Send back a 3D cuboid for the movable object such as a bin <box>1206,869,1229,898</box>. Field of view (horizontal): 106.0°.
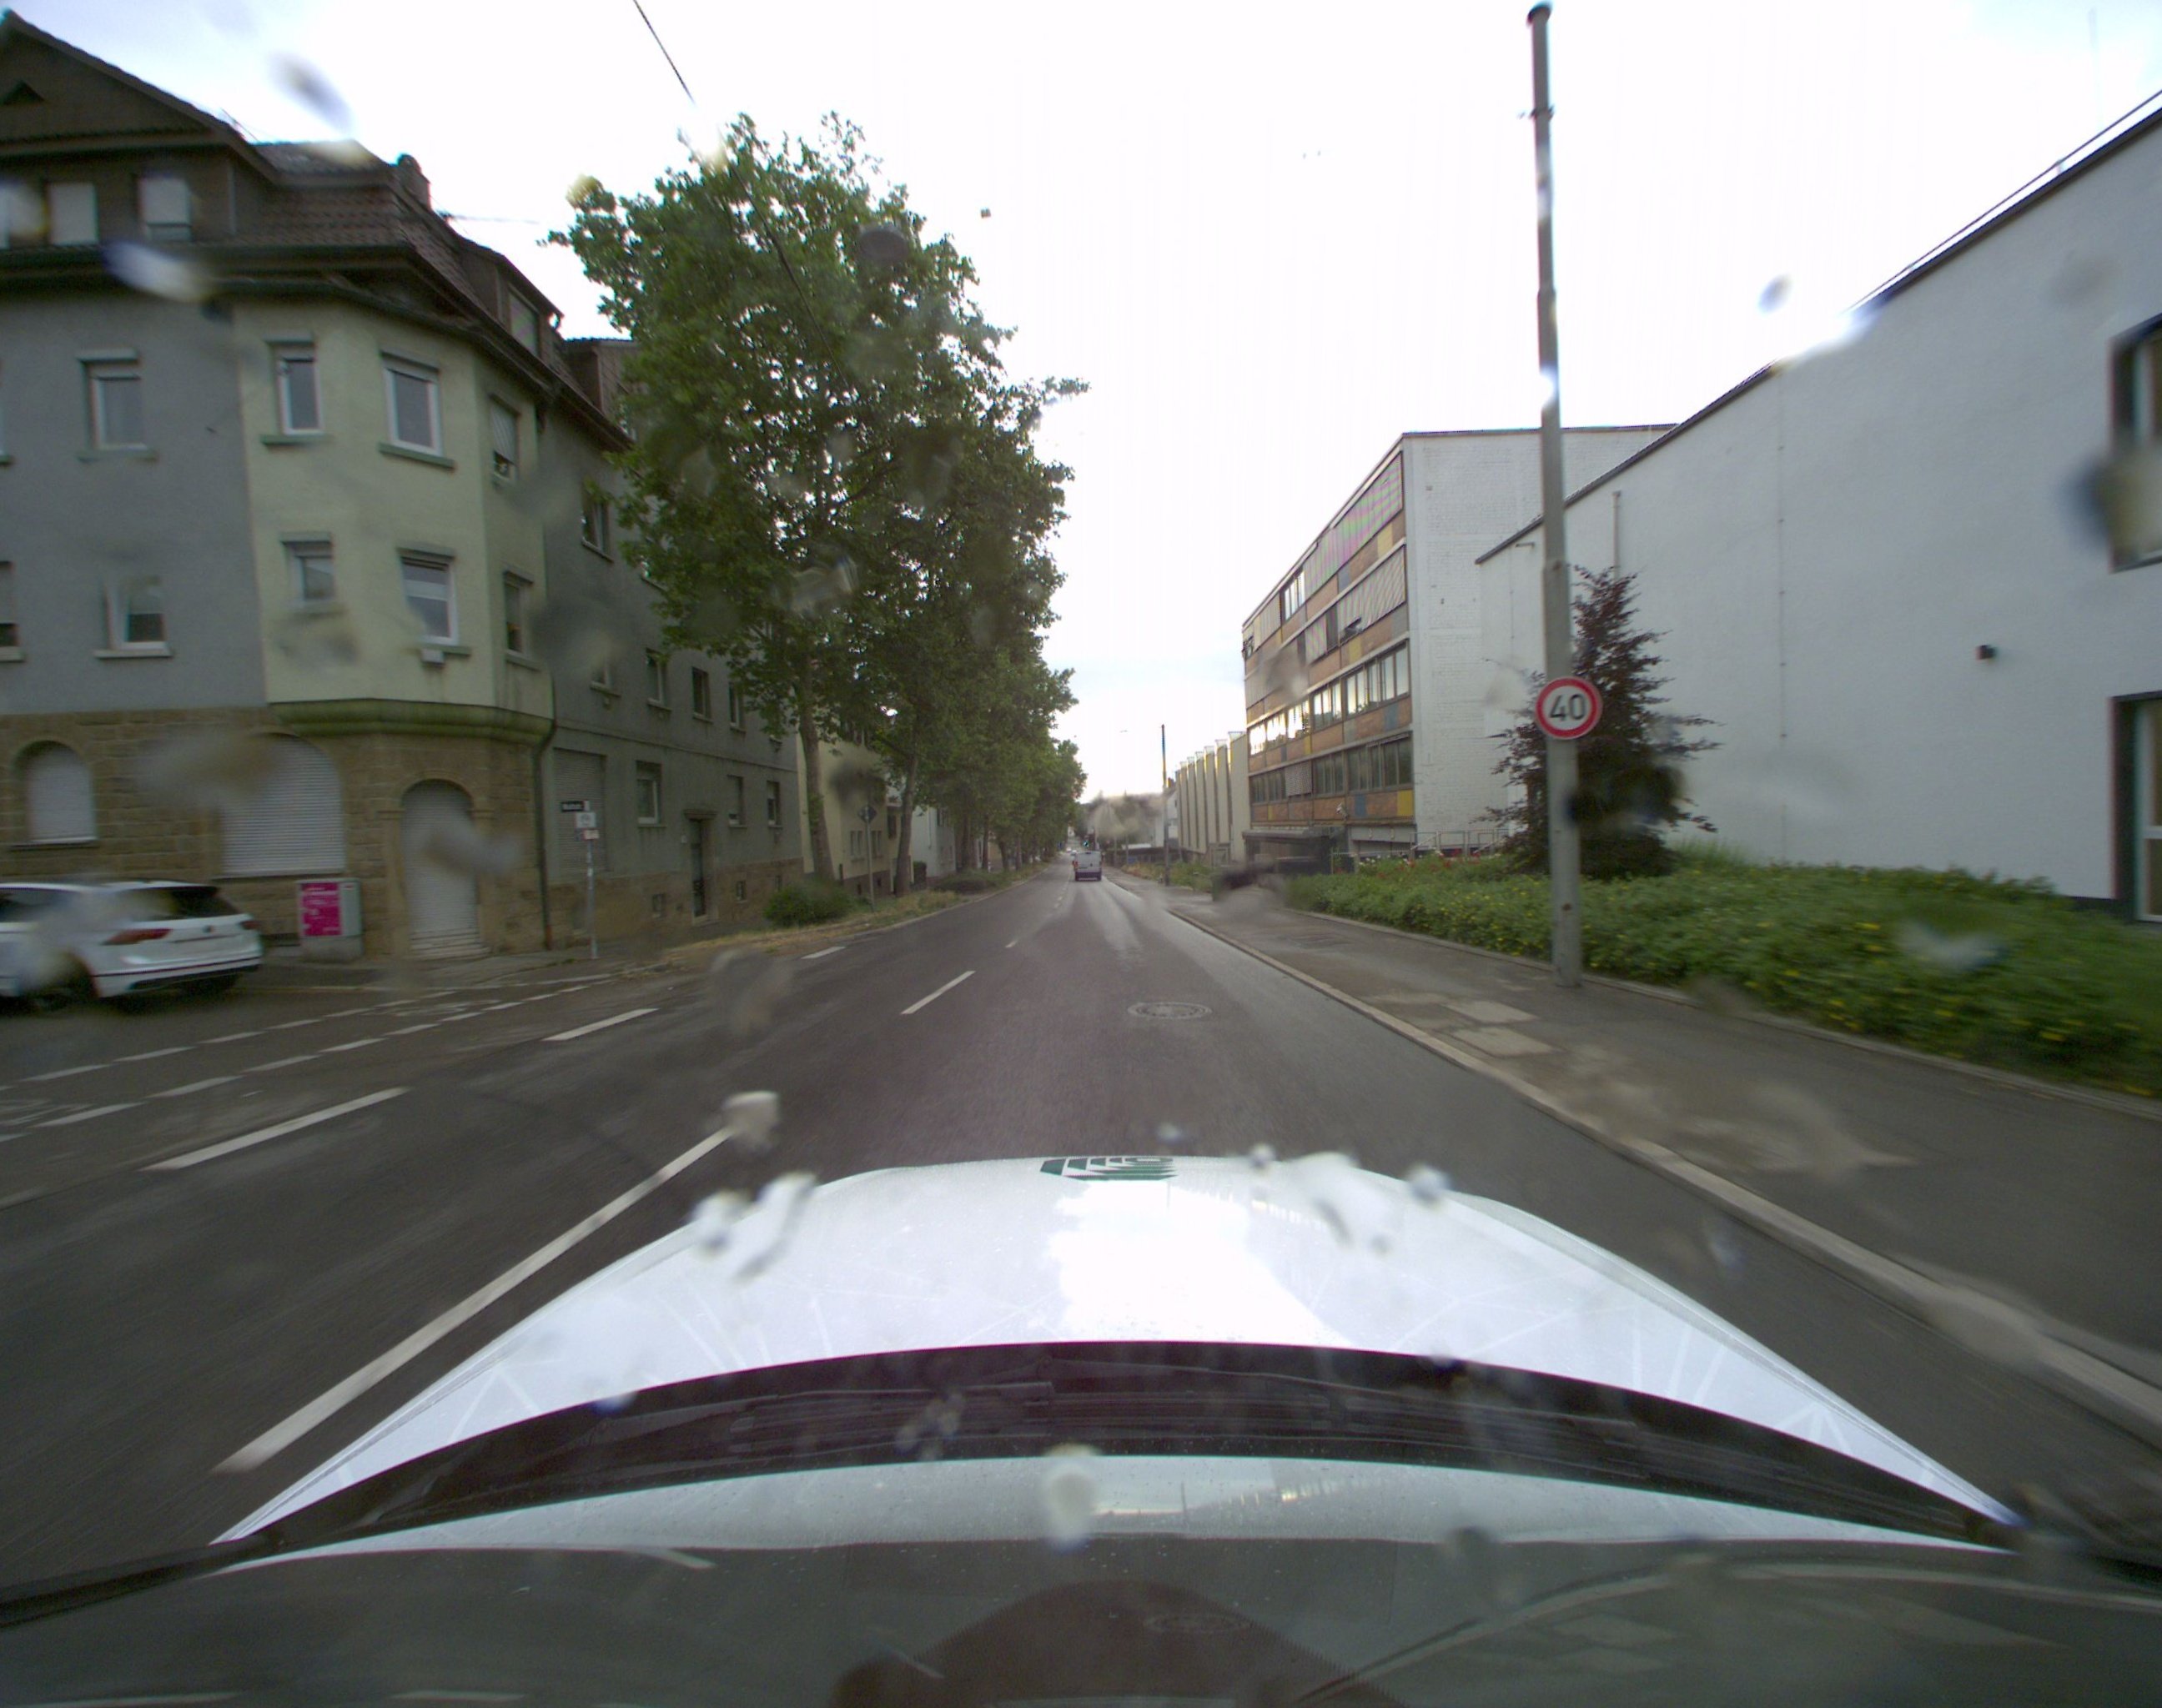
[{"bbox_3d":[4.719,1.009,28.129,0.617,0.936,0.686,-5,0,1],"label":"movable object such as a bin"}]

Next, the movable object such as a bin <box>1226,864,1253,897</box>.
[{"bbox_3d":[5.500,0.905,28.296,0.692,1.082,0.779,-5,0,1],"label":"movable object such as a bin"}]

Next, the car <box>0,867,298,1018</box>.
[{"bbox_3d":[-13.450,1.081,10.784,4.169,1.704,2.000,1,0,0],"label":"car"}]

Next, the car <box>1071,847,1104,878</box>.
[{"bbox_3d":[0.463,0.602,64.449,2.341,2.160,4.774,-3,2,-2],"label":"car"}]

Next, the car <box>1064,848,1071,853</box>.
[{"bbox_3d":[-4.151,-1.132,257.705,1.989,1.709,4.254,-2,0,-4],"label":"car"}]

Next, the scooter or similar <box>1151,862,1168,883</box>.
[{"bbox_3d":[4.527,1.030,47.025,0.604,1.162,1.697,-2,0,-5],"label":"scooter or similar"}]

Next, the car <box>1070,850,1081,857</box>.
[{"bbox_3d":[-1.433,-0.153,216.509,1.979,1.576,4.016,-2,0,14],"label":"car"}]

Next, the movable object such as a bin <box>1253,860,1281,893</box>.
[{"bbox_3d":[6.468,0.783,28.358,0.692,1.082,0.779,-5,0,1],"label":"movable object such as a bin"}]

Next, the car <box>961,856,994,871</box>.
[{"bbox_3d":[-14.090,1.283,110.708,4.185,1.892,1.999,-2,0,-2],"label":"car"}]

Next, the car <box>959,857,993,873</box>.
[{"bbox_3d":[-13.544,1.383,105.177,4.185,1.892,1.999,-2,0,-2],"label":"car"}]

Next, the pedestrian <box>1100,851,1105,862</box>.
[{"bbox_3d":[3.425,0.423,129.063,0.814,1.698,0.728,-2,0,-3],"label":"pedestrian"}]
